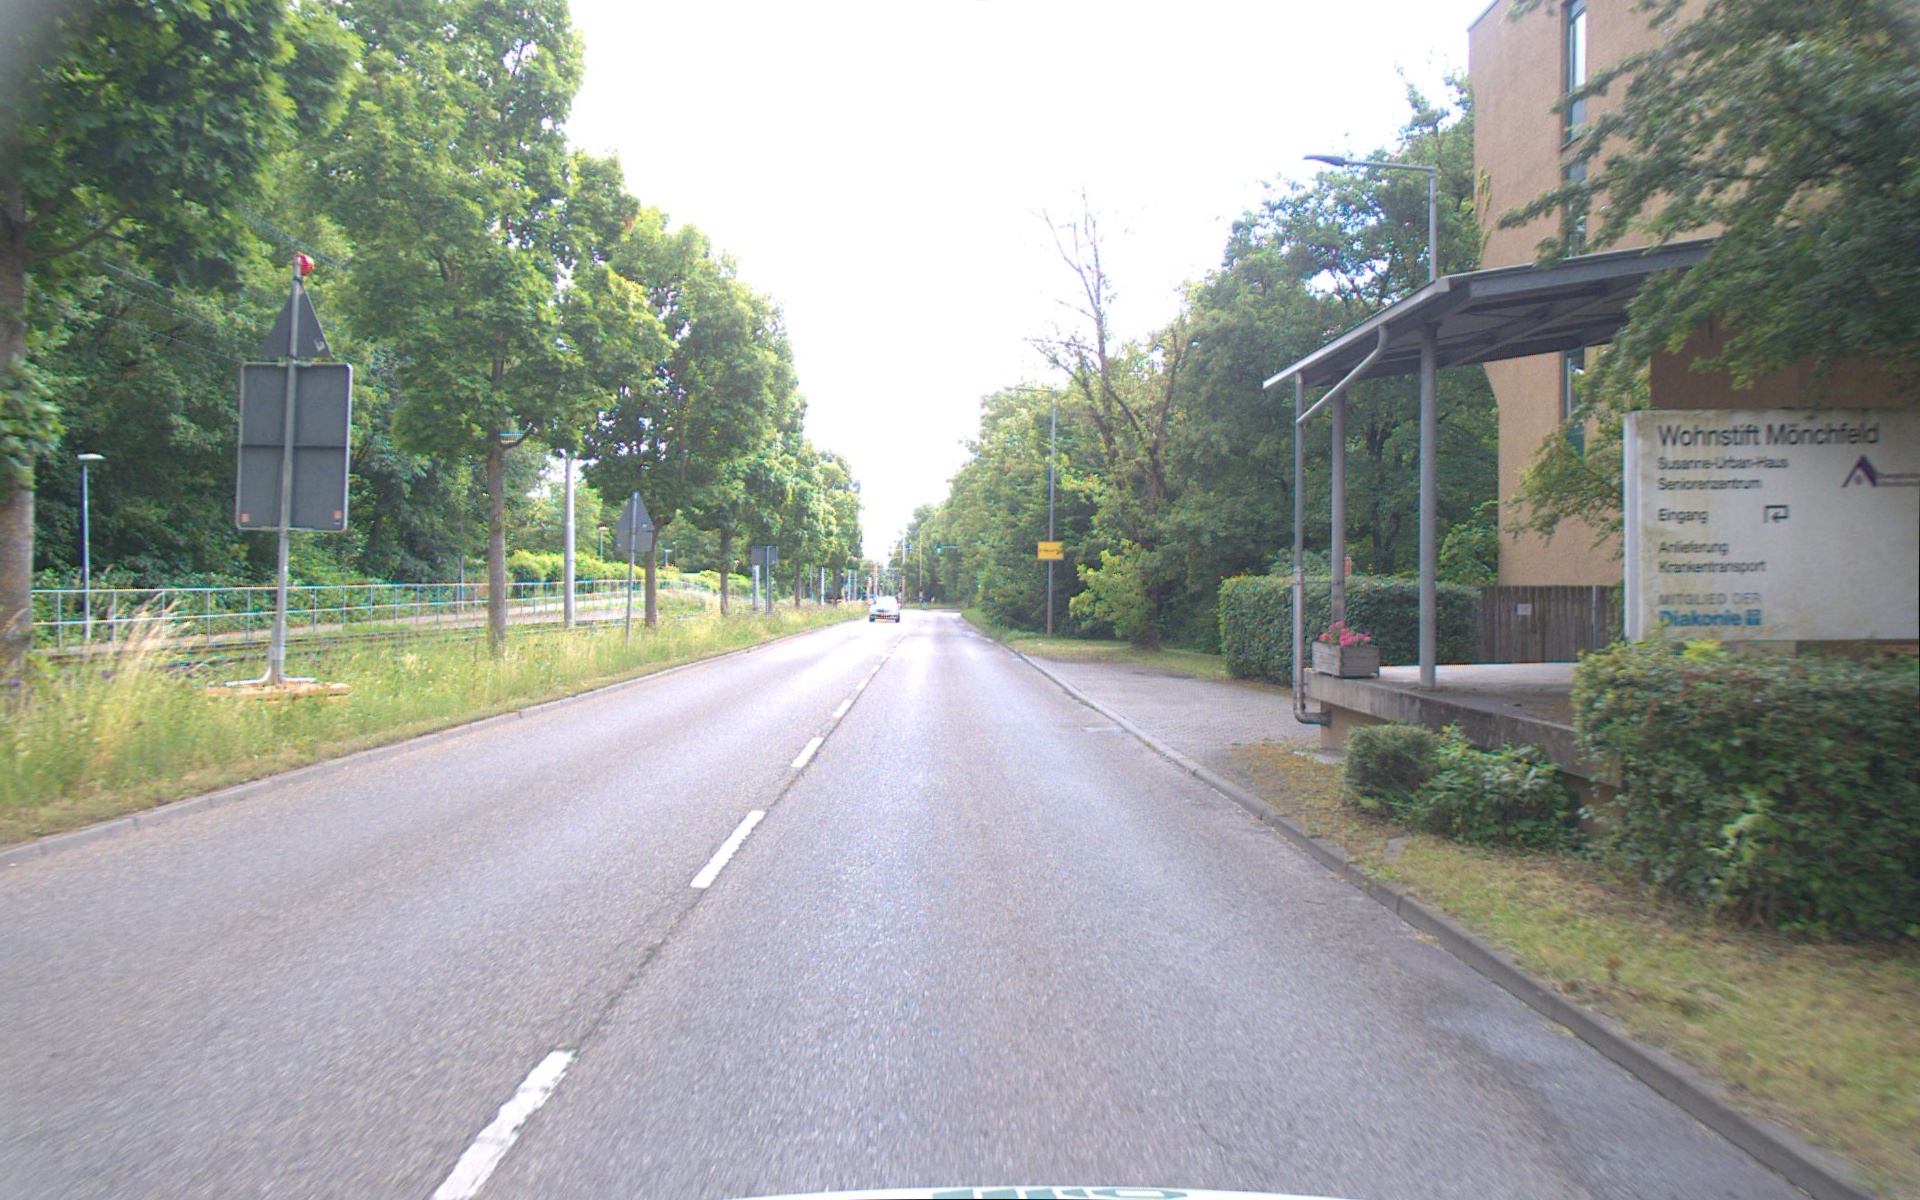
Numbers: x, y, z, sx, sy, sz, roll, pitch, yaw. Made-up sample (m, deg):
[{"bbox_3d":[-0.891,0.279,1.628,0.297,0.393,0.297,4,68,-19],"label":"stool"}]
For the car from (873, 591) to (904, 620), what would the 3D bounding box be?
[{"bbox_3d":[-4.184,0.298,97.169,1.681,1.658,4.000,2,0,-1],"label":"car"}]
